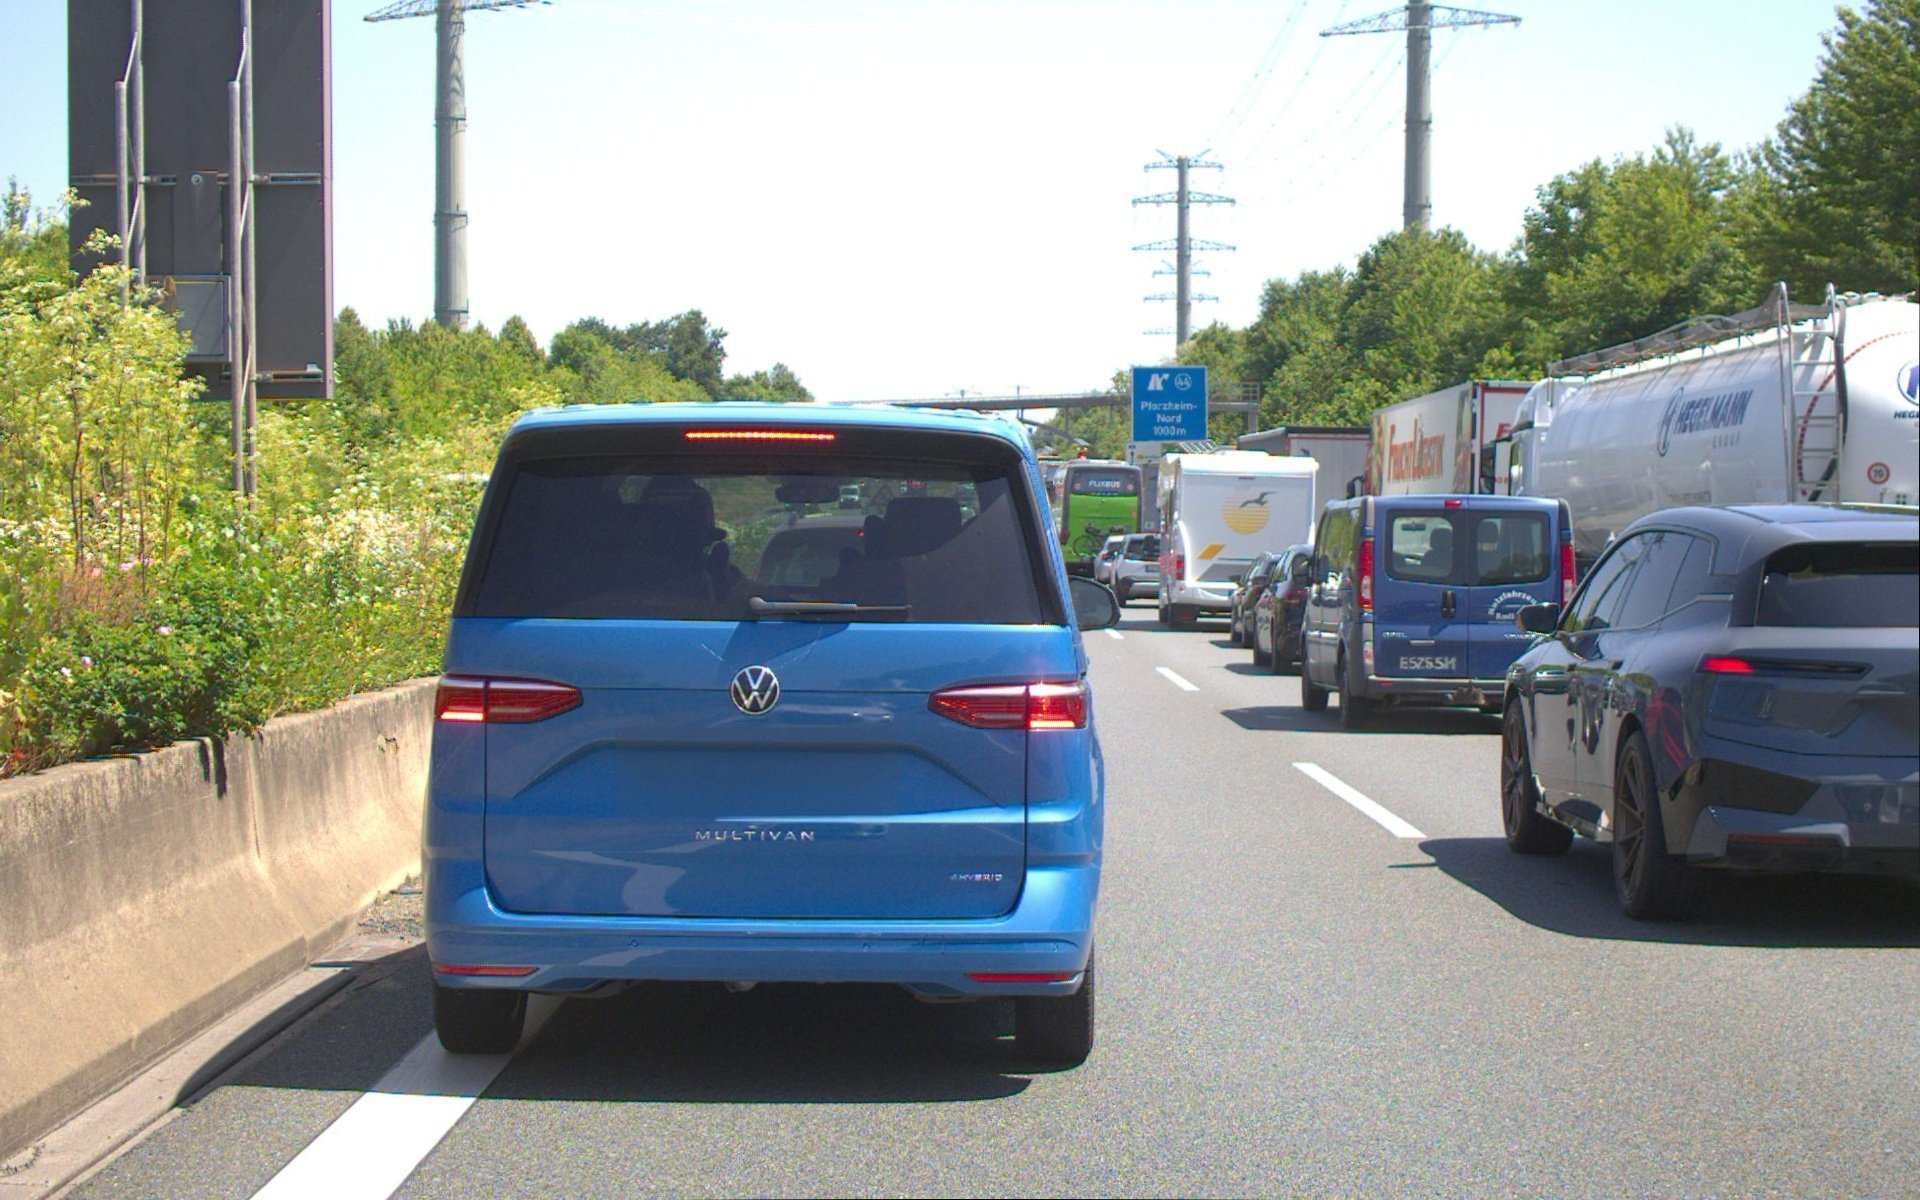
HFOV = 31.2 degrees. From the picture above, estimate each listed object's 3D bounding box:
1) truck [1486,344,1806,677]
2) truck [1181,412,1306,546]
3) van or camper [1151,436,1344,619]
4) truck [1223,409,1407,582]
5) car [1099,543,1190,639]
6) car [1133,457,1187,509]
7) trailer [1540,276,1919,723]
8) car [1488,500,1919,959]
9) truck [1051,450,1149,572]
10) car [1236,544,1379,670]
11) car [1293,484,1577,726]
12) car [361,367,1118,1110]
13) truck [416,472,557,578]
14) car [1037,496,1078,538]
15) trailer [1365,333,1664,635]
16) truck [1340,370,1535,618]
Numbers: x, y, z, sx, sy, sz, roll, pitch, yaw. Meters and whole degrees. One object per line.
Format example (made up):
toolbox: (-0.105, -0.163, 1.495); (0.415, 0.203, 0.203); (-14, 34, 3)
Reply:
truck: (8.311, -1.071, 42.283); (2.793, 3.823, 5.572); (0, 1, 0)
truck: (8.487, -3.544, 104.499); (2.895, 3.753, 13.345); (0, 1, 1)
van or camper: (4.947, -1.242, 60.335); (2.957, 3.011, 7.102); (0, 1, 2)
truck: (8.328, -2.354, 82.673); (3.006, 3.753, 15.713); (0, 1, 1)
car: (3.990, -0.198, 74.755); (1.836, 1.991, 4.000); (-1, 0, 2)
car: (8.172, -4.786, 140.884); (1.993, 2.007, 4.000); (0, 1, 0)
trailer: (8.334, -0.957, 35.250); (2.761, 3.831, 11.487); (0, 1, 0)
car: (3.647, 0.470, 15.108); (1.999, 1.709, 4.625); (0, 0, 1)
truck: (4.466, -2.820, 111.289); (2.895, 3.753, 10.140); (0, 1, 1)
car: (4.146, 0.072, 41.426); (1.360, 1.415, 3.884); (-1, 0, 1)
car: (4.028, 0.031, 29.810); (1.923, 1.919, 4.235); (-1, 0, 1)
car: (-0.566, 0.318, 10.902); (1.920, 1.880, 4.000); (1, 1, 0)
truck: (-15.412, -2.438, 112.798); (2.765, 3.277, 11.819); (0, 1, 1)
car: (5.083, -4.329, 179.550); (1.993, 2.118, 4.000); (0, 1, 0)
trailer: (8.917, -1.811, 56.907); (2.912, 4.453, 12.155); (0, 1, 0)
truck: (8.877, -1.953, 64.463); (2.912, 4.453, 5.143); (0, 1, 0)
